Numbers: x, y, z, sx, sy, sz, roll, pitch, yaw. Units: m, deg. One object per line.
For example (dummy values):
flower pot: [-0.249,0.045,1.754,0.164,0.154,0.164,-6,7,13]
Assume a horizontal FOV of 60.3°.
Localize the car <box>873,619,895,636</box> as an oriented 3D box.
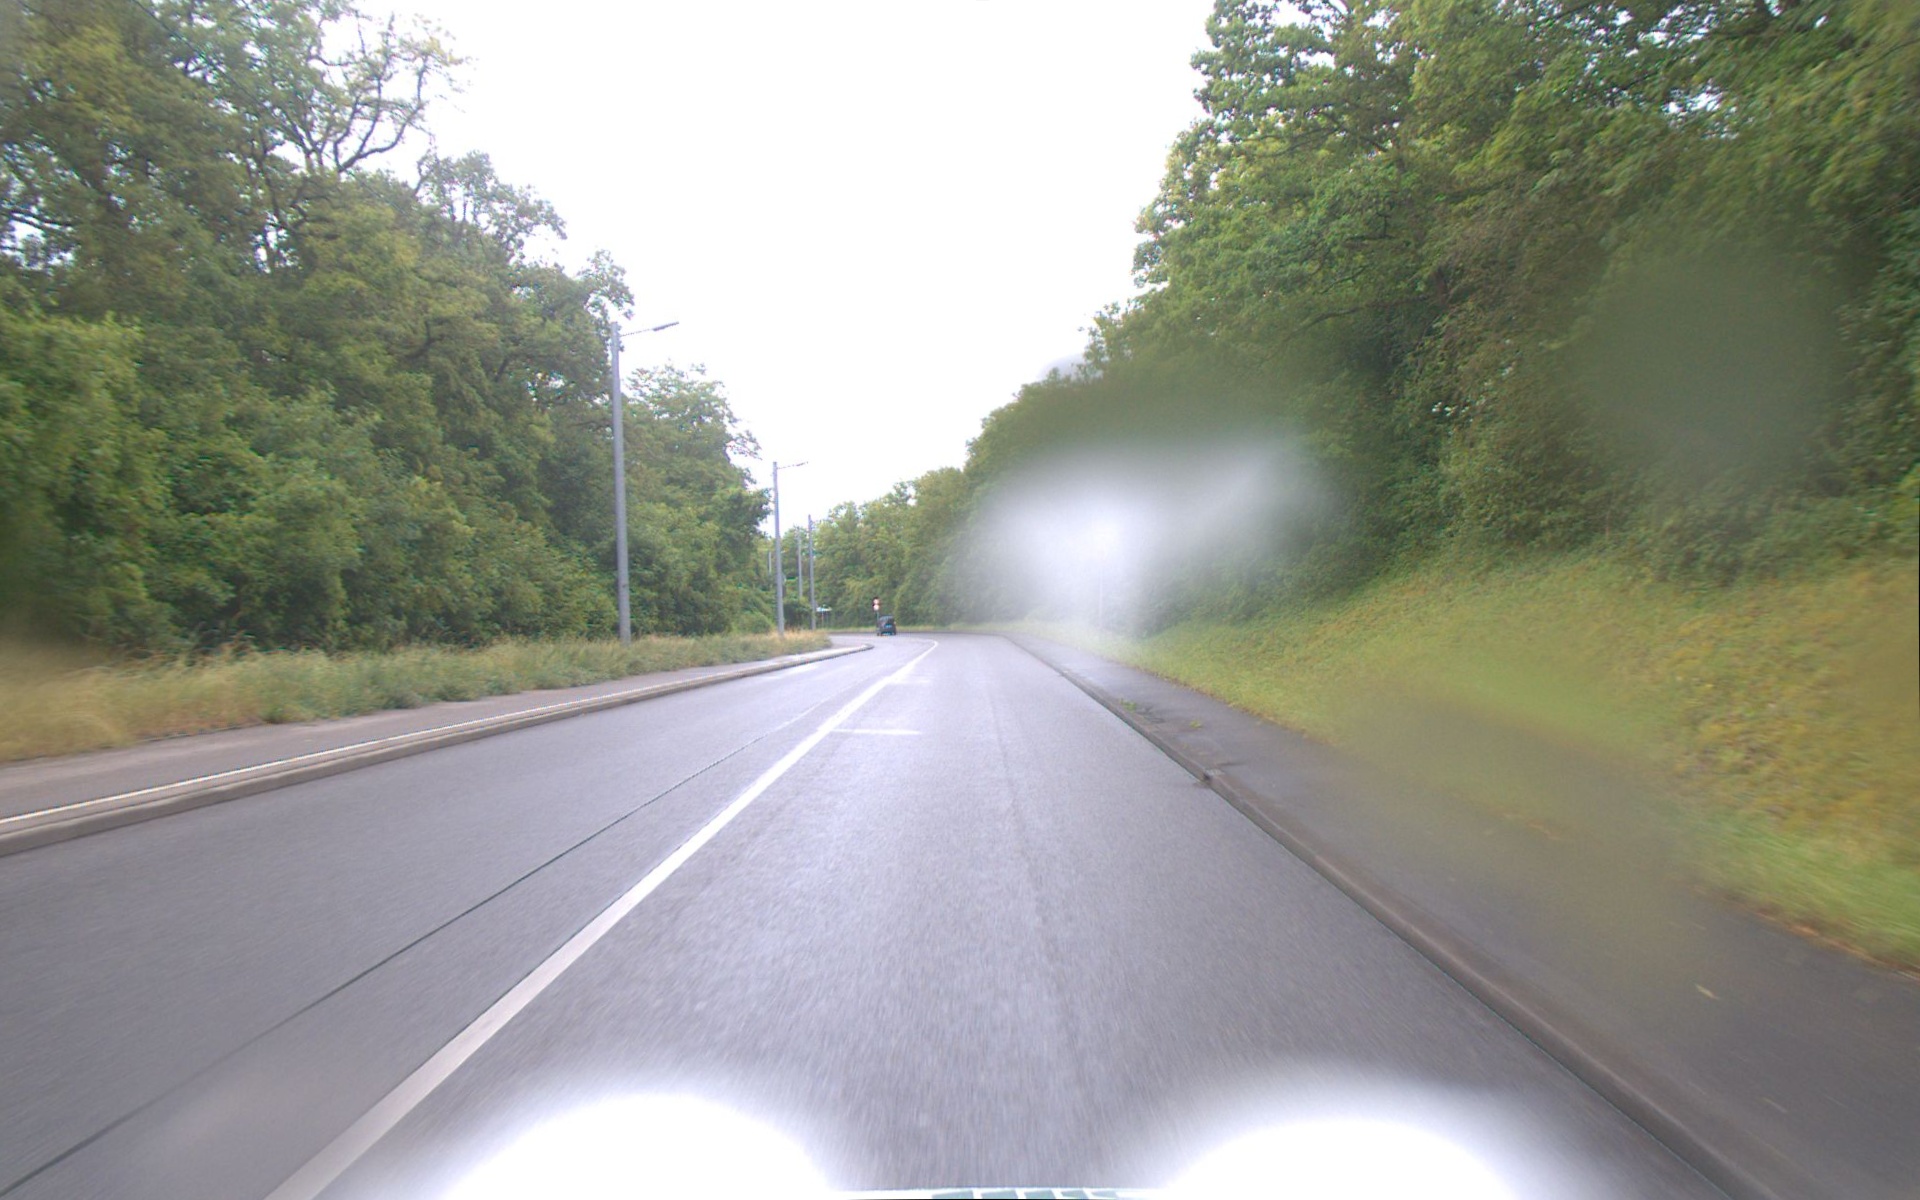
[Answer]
car: [-7.630,2.720,165.165,1.832,1.624,3.993,2,-2,-7]
